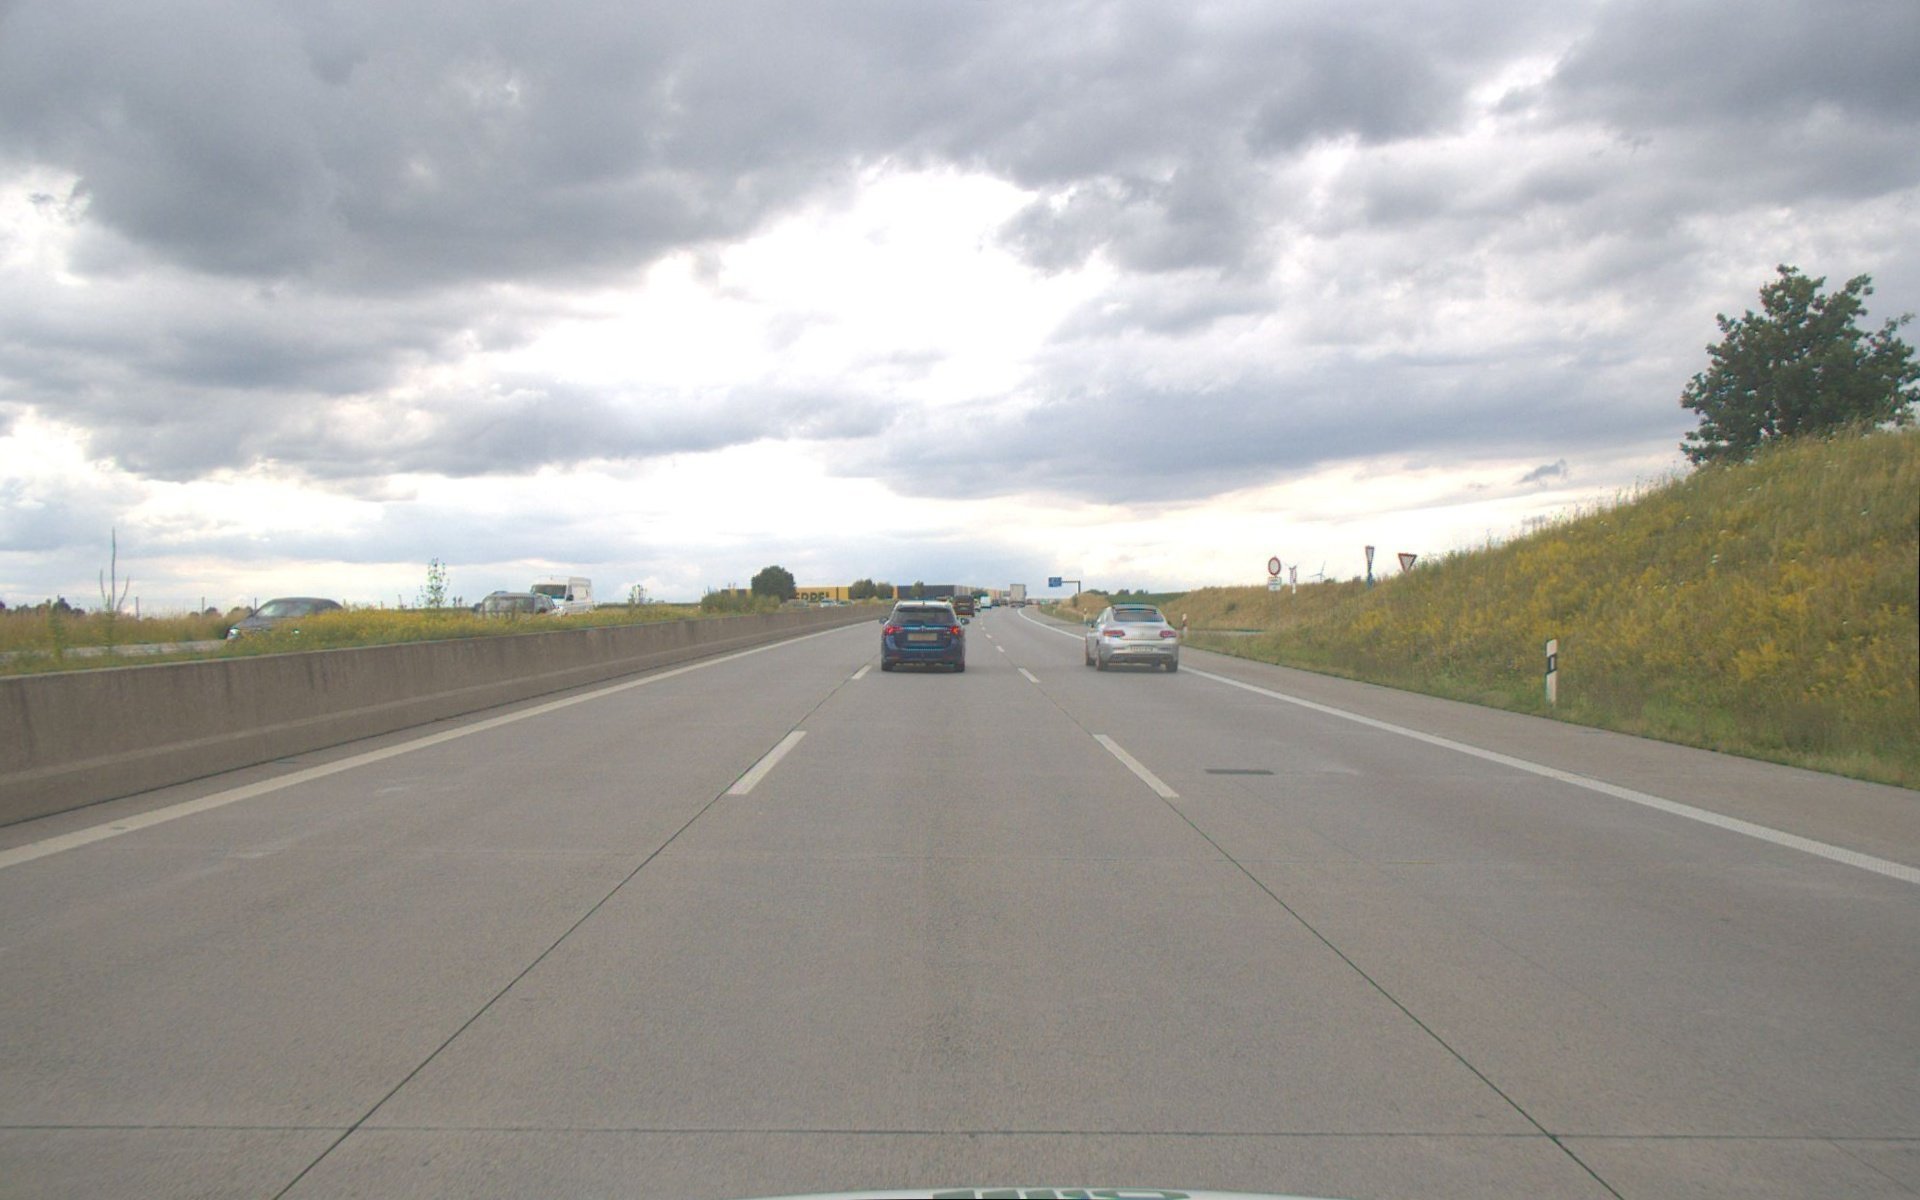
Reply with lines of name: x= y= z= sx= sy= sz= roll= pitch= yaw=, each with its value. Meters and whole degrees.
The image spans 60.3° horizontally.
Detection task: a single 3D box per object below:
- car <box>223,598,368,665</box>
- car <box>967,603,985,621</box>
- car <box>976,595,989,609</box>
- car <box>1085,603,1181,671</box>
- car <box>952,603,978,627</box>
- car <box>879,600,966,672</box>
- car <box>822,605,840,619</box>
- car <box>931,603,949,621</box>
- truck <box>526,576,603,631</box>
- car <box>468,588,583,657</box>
car: x=-15.626 y=0.699 z=39.108 sx=1.818 sy=1.489 sz=3.999 roll=0 pitch=0 yaw=-1
car: x=1.940 y=1.461 z=196.314 sx=1.952 sy=2.049 sz=4.001 roll=2 pitch=0 yaw=2
car: x=3.358 y=0.303 z=244.710 sx=1.952 sy=2.049 sz=4.000 roll=1 pitch=-1 yaw=1
car: x=3.829 y=0.800 z=37.206 sx=1.752 sy=1.428 sz=4.221 roll=0 pitch=0 yaw=0
car: x=0.416 y=1.304 z=141.632 sx=1.954 sy=2.049 sz=3.996 roll=1 pitch=-1 yaw=-4
car: x=-0.799 y=0.744 z=35.283 sx=1.739 sy=1.438 sz=3.999 roll=0 pitch=0 yaw=-1
car: x=-14.892 y=1.403 z=191.142 sx=1.741 sy=1.533 sz=4.516 roll=1 pitch=-1 yaw=0
car: x=-2.300 y=1.361 z=193.530 sx=2.004 sy=2.049 sz=3.999 roll=1 pitch=-1 yaw=-1
truck: x=-19.811 y=0.245 z=83.157 sx=2.100 sy=2.611 sz=7.446 roll=1 pitch=-1 yaw=-1
car: x=-12.011 y=0.585 z=46.052 sx=1.953 sy=1.813 sz=4.930 roll=0 pitch=0 yaw=-1
